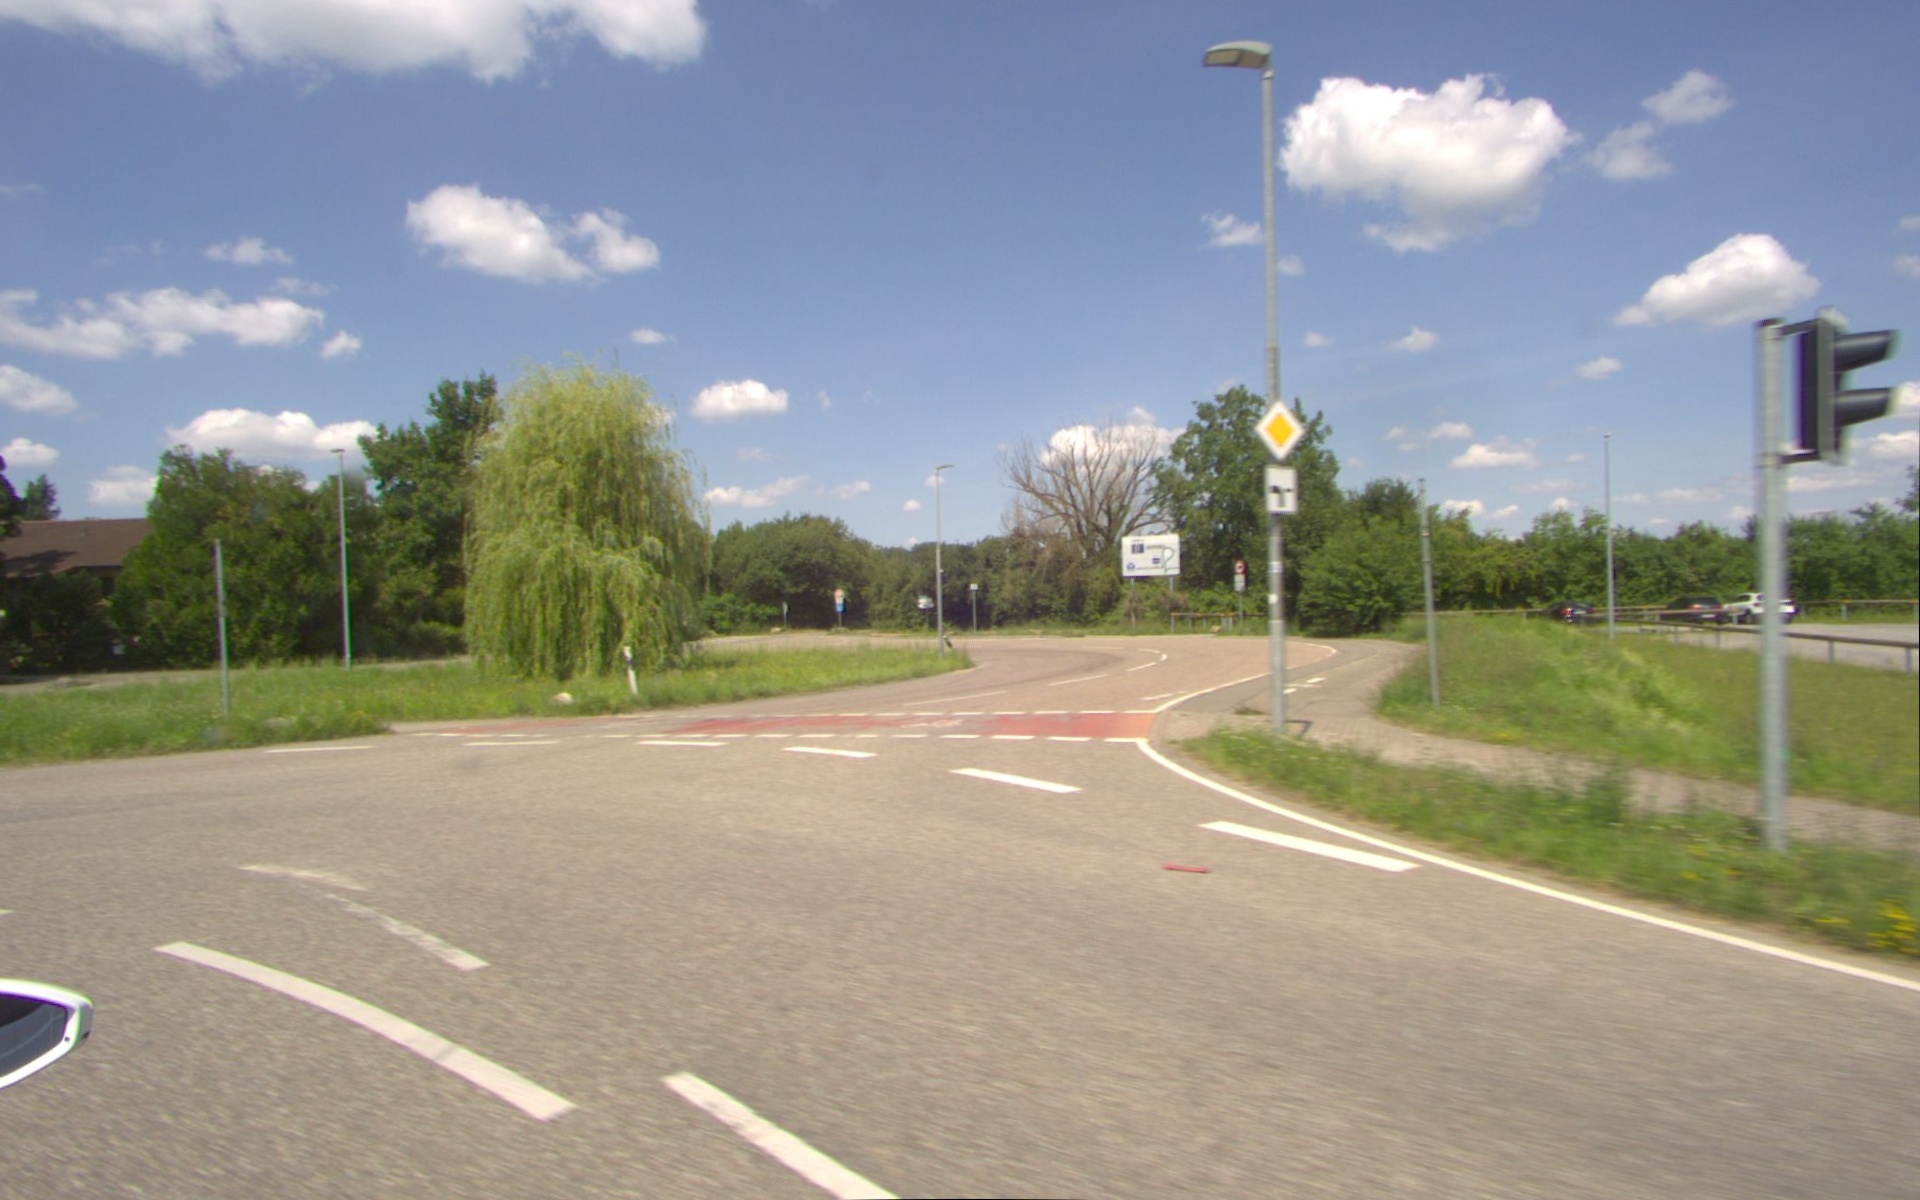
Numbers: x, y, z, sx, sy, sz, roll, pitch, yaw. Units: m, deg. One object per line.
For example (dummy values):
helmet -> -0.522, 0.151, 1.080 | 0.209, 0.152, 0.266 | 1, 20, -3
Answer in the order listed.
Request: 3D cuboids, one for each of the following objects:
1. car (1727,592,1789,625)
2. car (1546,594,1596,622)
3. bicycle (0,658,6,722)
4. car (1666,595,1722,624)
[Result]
car -> 39.355, 0.458, 49.443 | 1.394, 1.523, 3.113 | -2, -2, 20
car -> 31.727, 0.437, 52.077 | 1.393, 1.355, 3.115 | -2, -2, 17
bicycle -> -18.791, 1.676, 18.161 | 2.106, 1.180, 0.661 | -1, 0, -10
car -> 36.609, 0.515, 50.010 | 1.394, 1.355, 3.112 | -2, -2, 20
